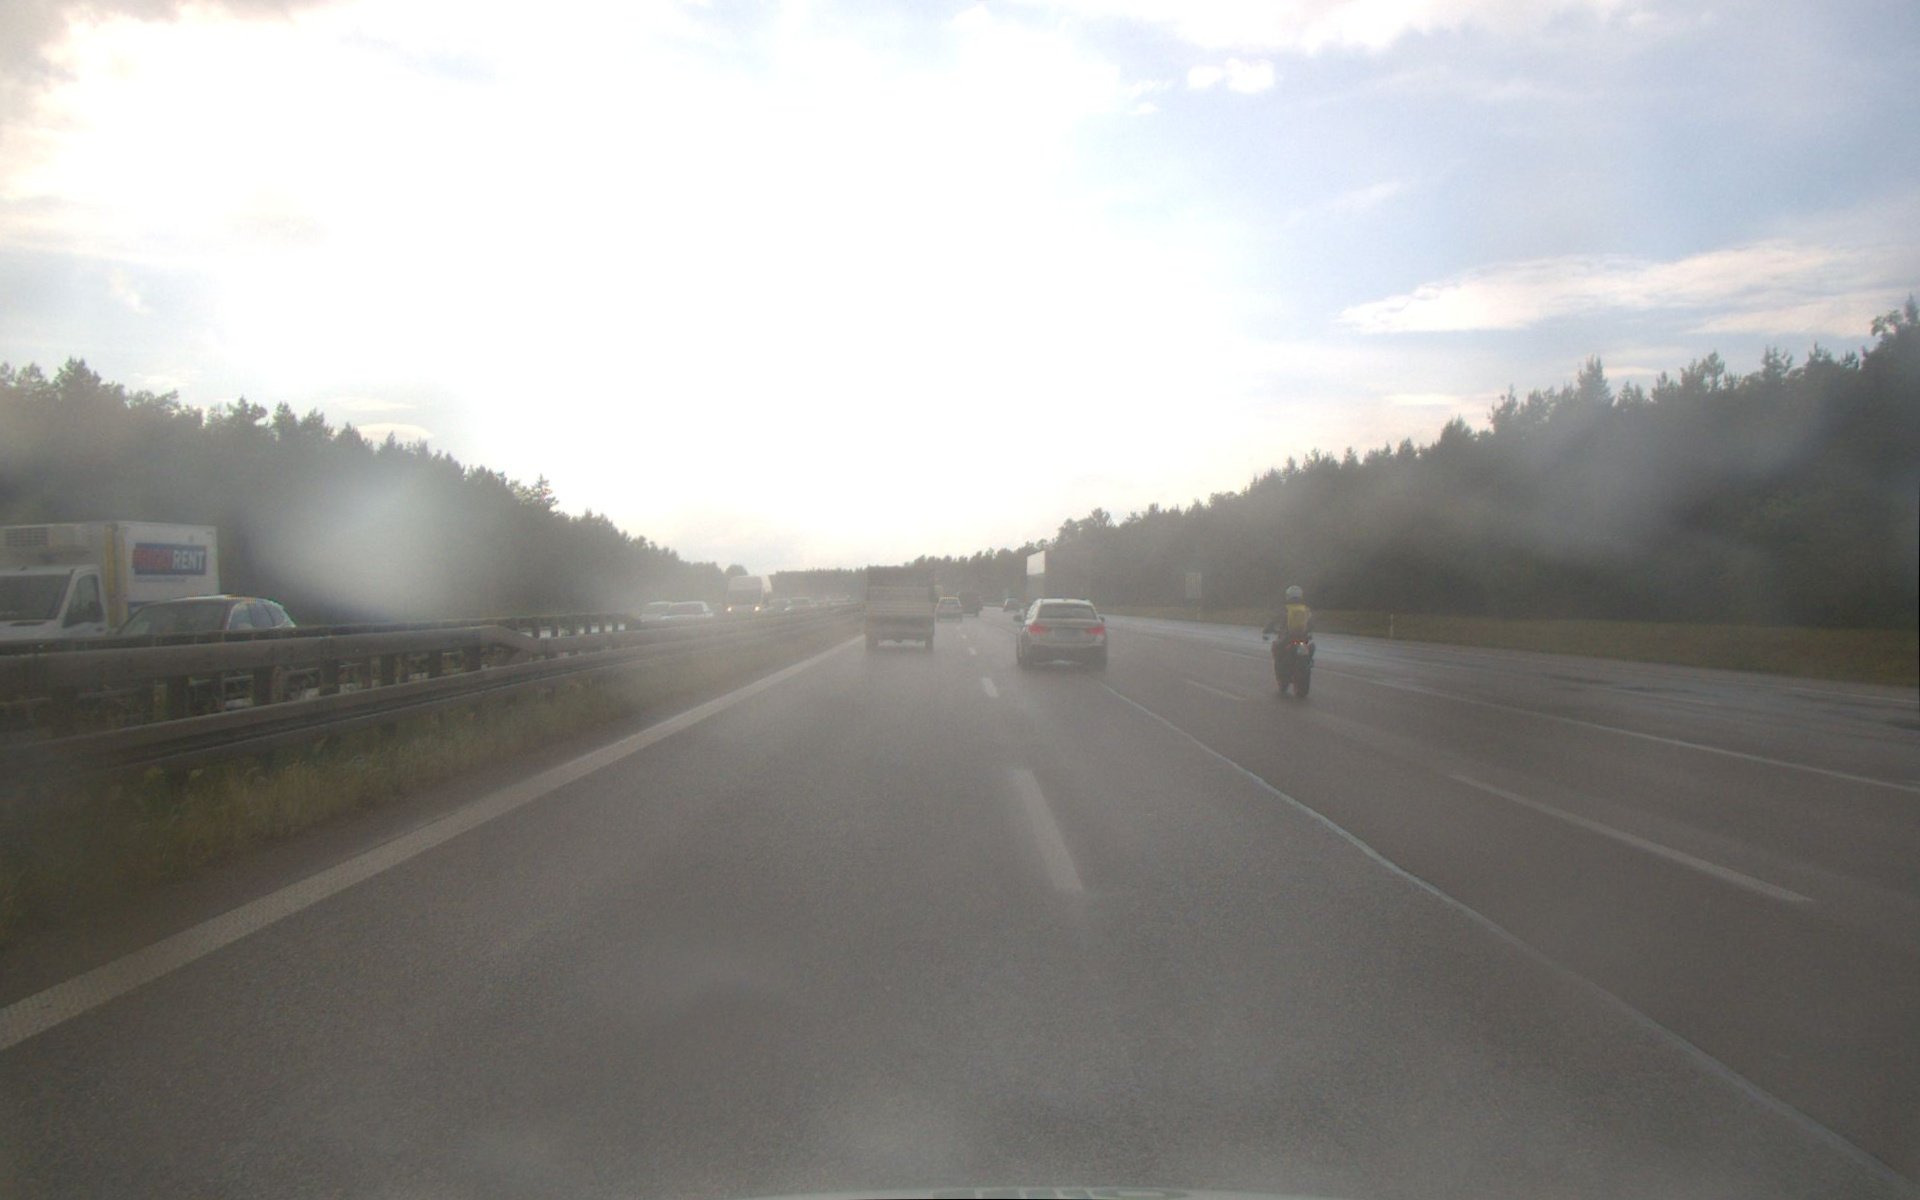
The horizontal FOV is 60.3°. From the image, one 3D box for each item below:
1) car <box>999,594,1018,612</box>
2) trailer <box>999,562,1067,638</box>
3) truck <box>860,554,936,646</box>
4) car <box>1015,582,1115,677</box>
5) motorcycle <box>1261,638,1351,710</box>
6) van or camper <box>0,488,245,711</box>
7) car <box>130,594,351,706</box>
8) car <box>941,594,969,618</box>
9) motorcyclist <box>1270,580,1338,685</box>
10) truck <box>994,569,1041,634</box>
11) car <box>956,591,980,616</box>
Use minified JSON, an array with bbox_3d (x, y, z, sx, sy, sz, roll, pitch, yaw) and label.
[{"bbox_3d":[5.670,0.306,193.643,1.953,2.049,3.999,1,0,-1],"label":"car"},{"bbox_3d":[4.067,0.027,94.947,2.278,4.071,13.398,0,0,-5],"label":"trailer"},{"bbox_3d":[-1.801,0.004,48.469,2.094,2.532,5.310,0,0,-2],"label":"truck"},{"bbox_3d":[2.266,0.592,36.625,2.034,1.918,5.013,1,0,2],"label":"car"},{"bbox_3d":[5.489,1.153,26.401,0.979,1.049,2.173,0,0,0],"label":"motorcycle"},{"bbox_3d":[-14.639,-0.004,27.251,2.253,3.167,7.544,-1,0,1],"label":"van or camper"},{"bbox_3d":[-10.833,0.697,25.205,1.660,1.541,3.999,-1,0,-1],"label":"car"},{"bbox_3d":[-0.335,0.385,106.853,1.793,1.492,4.000,1,0,0],"label":"car"},{"bbox_3d":[5.490,0.504,26.417,0.873,1.643,0.959,0,0,-1],"label":"motorcyclist"},{"bbox_3d":[3.514,0.095,101.946,2.249,3.936,5.387,0,0,-5],"label":"truck"},{"bbox_3d":[0.667,0.305,138.454,1.869,2.049,3.999,0,0,-2],"label":"car"}]
